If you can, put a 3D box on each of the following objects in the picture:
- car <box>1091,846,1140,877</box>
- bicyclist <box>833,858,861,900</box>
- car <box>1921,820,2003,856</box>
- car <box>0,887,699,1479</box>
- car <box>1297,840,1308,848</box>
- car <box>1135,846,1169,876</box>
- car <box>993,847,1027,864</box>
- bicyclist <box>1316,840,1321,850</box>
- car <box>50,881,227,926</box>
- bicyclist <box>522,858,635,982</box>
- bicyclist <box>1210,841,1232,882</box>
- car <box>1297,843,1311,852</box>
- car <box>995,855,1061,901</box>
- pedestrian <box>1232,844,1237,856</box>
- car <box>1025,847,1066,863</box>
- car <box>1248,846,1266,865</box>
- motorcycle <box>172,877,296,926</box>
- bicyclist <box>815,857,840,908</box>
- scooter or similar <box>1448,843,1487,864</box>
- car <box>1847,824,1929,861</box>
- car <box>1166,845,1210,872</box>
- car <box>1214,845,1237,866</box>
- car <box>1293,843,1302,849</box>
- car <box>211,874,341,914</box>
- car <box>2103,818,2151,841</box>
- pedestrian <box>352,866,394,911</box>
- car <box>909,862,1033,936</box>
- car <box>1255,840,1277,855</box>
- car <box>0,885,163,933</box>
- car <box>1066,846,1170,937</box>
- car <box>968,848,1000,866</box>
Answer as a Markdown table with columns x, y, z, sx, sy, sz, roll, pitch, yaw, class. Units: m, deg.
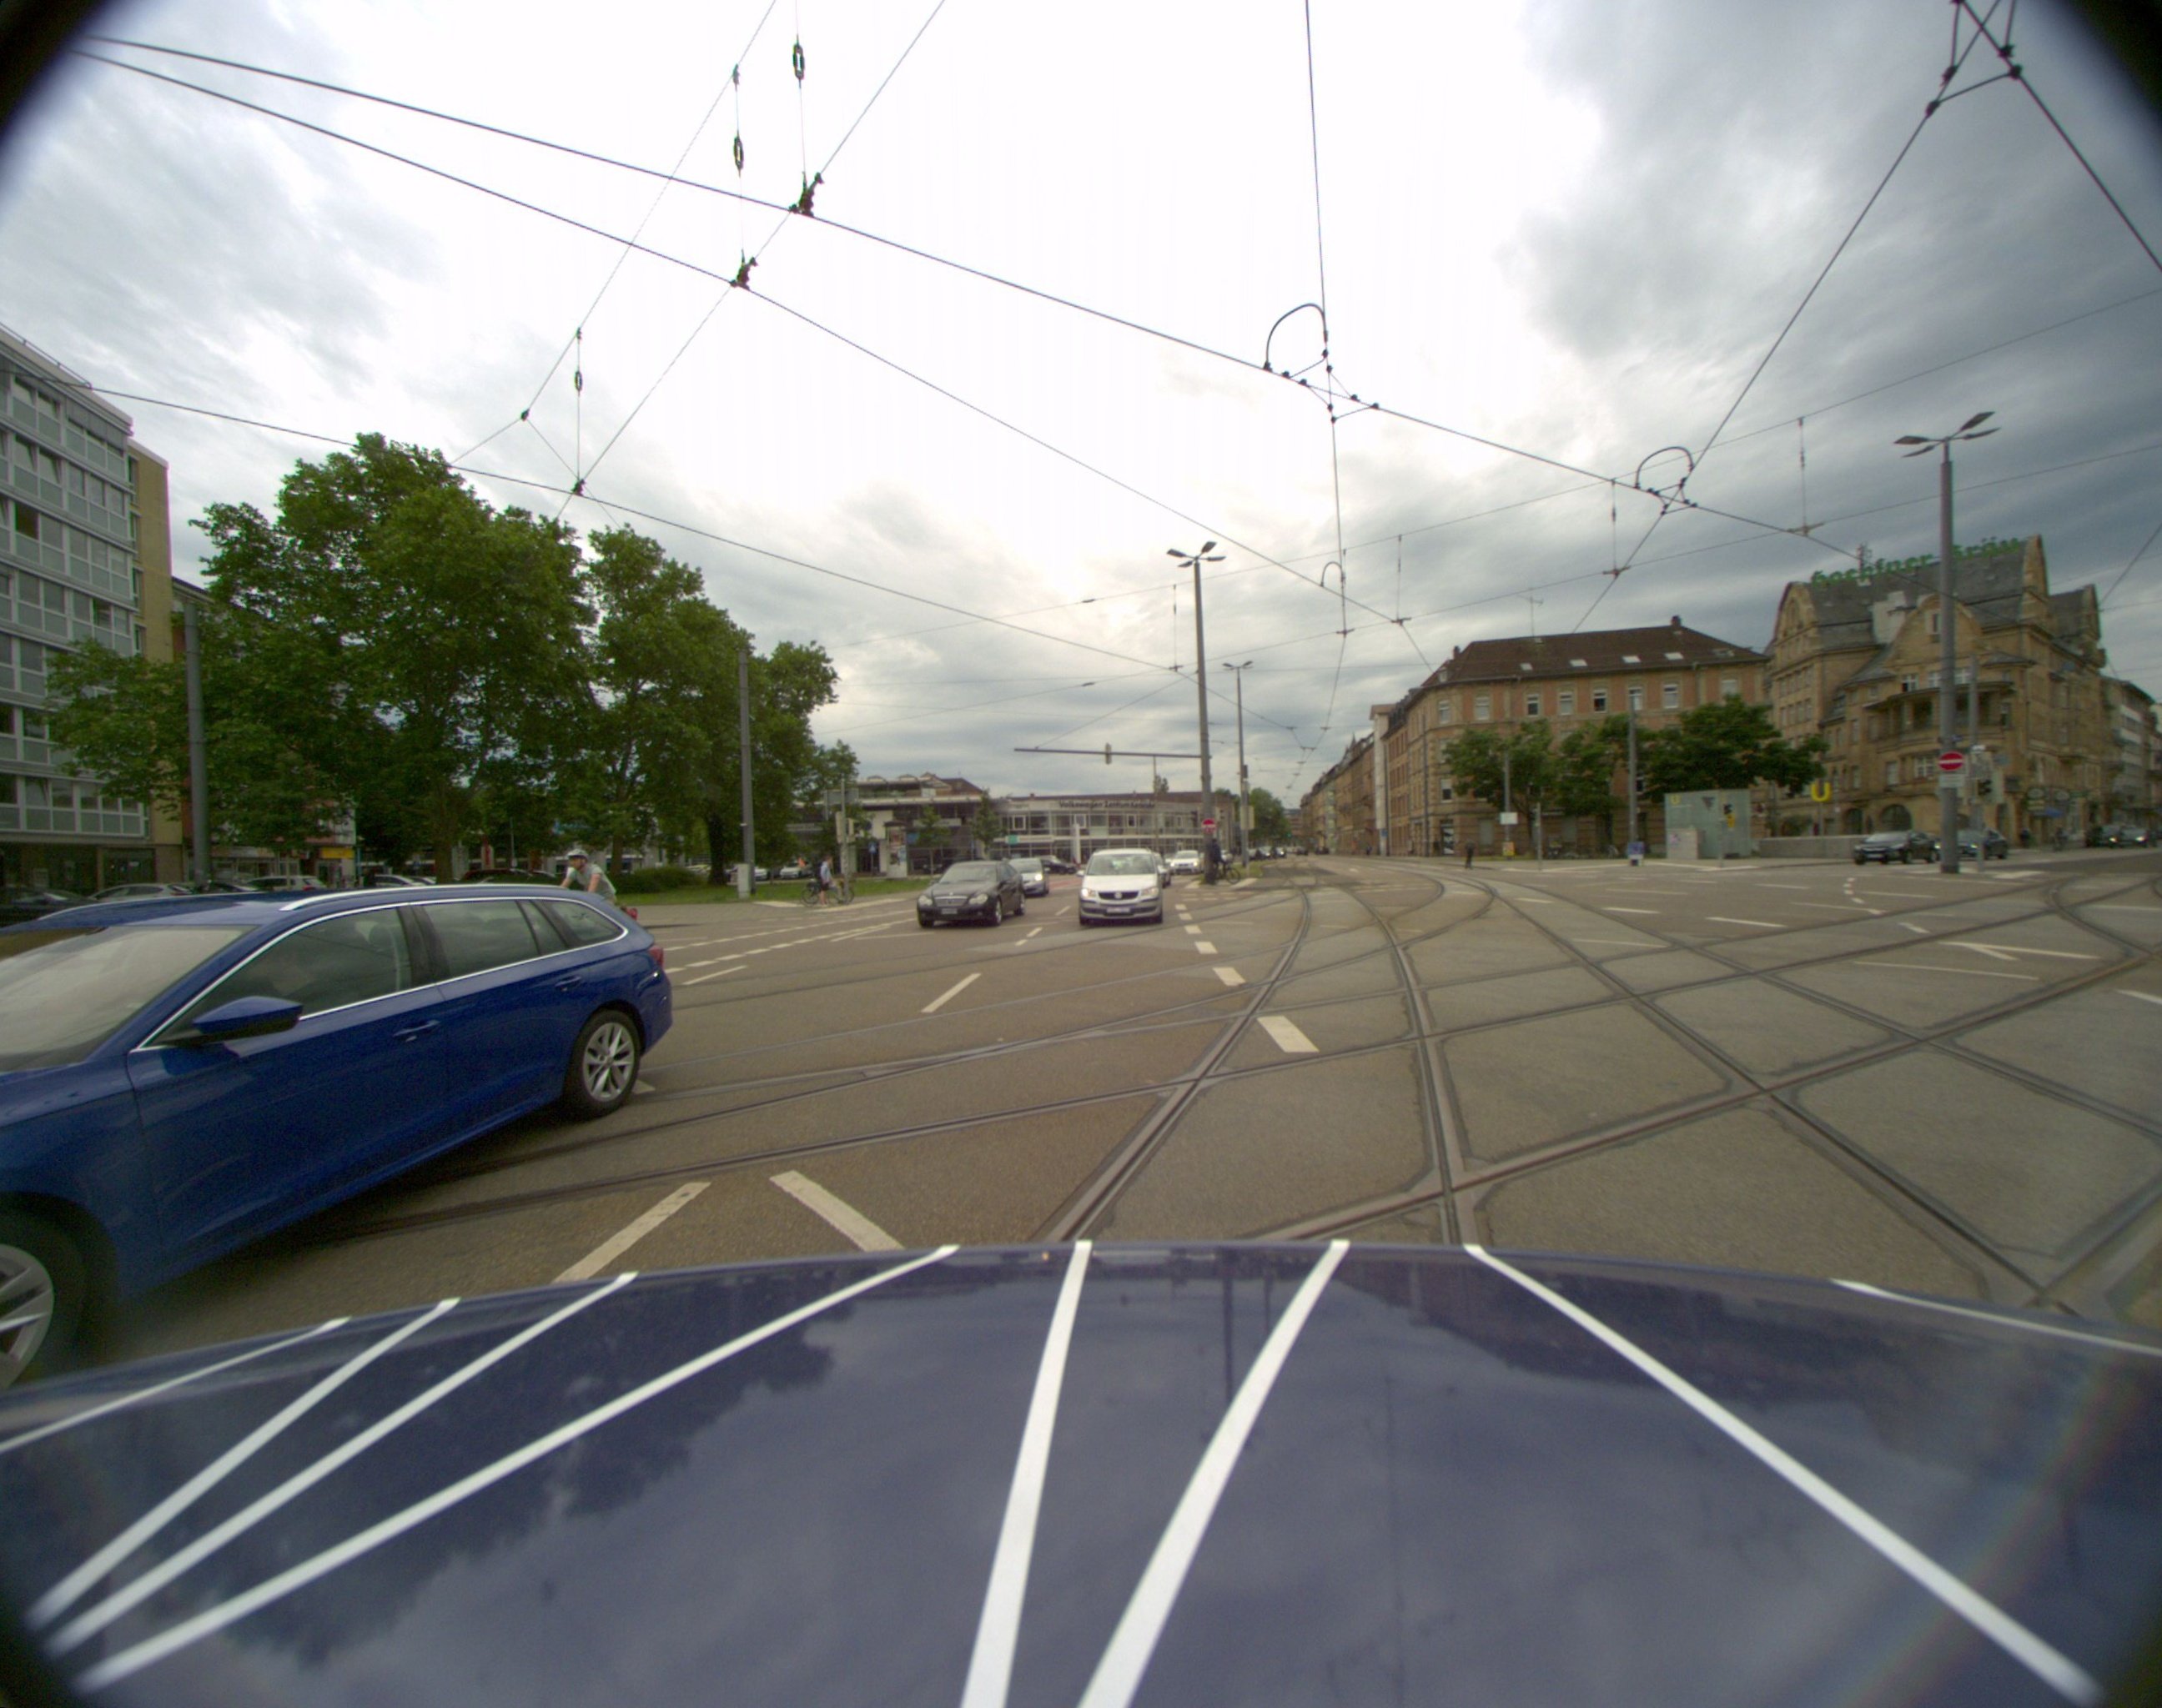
| x | y | z | sx | sy | sz | roll | pitch | yaw | class |
| --- | --- | --- | --- | --- | --- | --- | --- | --- | --- |
| 1.982 | 0.382 | 42.665 | 1.980 | 1.550 | 4.149 | -2 | 1 | 13 | car |
| -8.751 | 0.928 | 28.472 | 0.886 | 1.513 | 0.671 | 0 | 1 | -6 | bicyclist |
| 46.137 | -0.834 | 39.764 | 4.932 | 1.704 | 2.157 | -2 | 1 | -33 | car |
| -3.845 | 1.025 | 3.293 | 1.769 | 1.428 | 4.757 | -2 | 1 | 2 | car |
| 47.284 | -2.176 | 162.276 | 1.833 | 1.636 | 4.234 | -2 | 1 | 12 | car |
| 5.180 | 0.481 | 54.786 | 1.997 | 2.002 | 4.003 | -2 | 1 | 11 | car |
| -7.178 | 0.169 | 76.196 | 1.794 | 1.552 | 4.025 | -3 | 1 | -30 | car |
| 42.892 | -1.616 | 137.103 | 0.823 | 1.856 | 0.924 | -2 | 1 | 13 | bicyclist |
| -38.414 | 1.976 | 31.122 | 4.005 | 1.456 | 1.996 | -3 | 1 | -26 | car |
| -7.065 | 0.902 | 10.729 | 0.790 | 1.609 | 0.934 | -4 | 1 | 9 | bicyclist |
| 5.713 | 0.285 | 30.968 | 0.656 | 1.630 | 0.517 | -3 | 2 | -25 | bicyclist |
| 37.480 | -1.077 | 127.958 | 1.886 | 1.461 | 4.467 | -2 | 1 | 12 | car |
| -1.955 | 0.867 | 29.309 | 1.708 | 1.475 | 3.935 | -4 | 1 | 7 | car |
| 20.961 | -0.526 | 103.823 | 0.662 | 1.671 | 0.651 | -2 | 1 | 12 | pedestrian |
| -3.591 | 0.075 | 77.778 | 3.903 | 1.433 | 1.733 | -2 | 1 | 4 | car |
| 20.707 | 0.134 | 89.254 | 1.996 | 2.002 | 4.003 | -2 | 1 | 14 | car |
| -26.336 | 1.454 | 23.693 | 2.296 | 1.358 | 1.044 | -2 | 1 | -27 | motorcycle |
| -9.006 | 1.006 | 27.017 | 0.735 | 1.742 | 0.585 | -2 | 2 | -14 | bicyclist |
| 22.367 | -0.046 | 44.016 | 0.575 | 1.158 | 1.902 | -3 | 1 | -38 | scooter or similar |
| 39.338 | -0.560 | 37.026 | 4.251 | 1.602 | 1.995 | -3 | 1 | -33 | car |
| 6.484 | 0.236 | 45.649 | 1.970 | 1.447 | 4.197 | -2 | 1 | 16 | car |
| 15.184 | 0.116 | 79.708 | 1.996 | 2.002 | 4.003 | -2 | 1 | 14 | car |
| 50.618 | -1.853 | 177.665 | 1.813 | 1.423 | 4.020 | -2 | 1 | 12 | car |
| -40.551 | 1.962 | 38.421 | 4.005 | 1.713 | 1.996 | -2 | 1 | -26 | car |
| 75.788 | -1.782 | 55.059 | 4.008 | 1.457 | 1.828 | -3 | 1 | -33 | car |
| -29.561 | 1.419 | 31.741 | 0.866 | 1.808 | 0.897 | -2 | 1 | -10 | pedestrian |
| -2.373 | 0.946 | 17.608 | 1.769 | 1.362 | 4.423 | -1 | 1 | 6 | car |
| 23.257 | -0.889 | 95.595 | 2.370 | 1.745 | 5.135 | -2 | 1 | 17 | car |
| -36.152 | 1.937 | 26.941 | 4.170 | 1.434 | 1.838 | -2 | 1 | -19 | car |
| 0.986 | 0.695 | 16.885 | 1.862 | 1.609 | 5.064 | -3 | 1 | 7 | car |
| -9.639 | 0.278 | 75.092 | 1.959 | 1.517 | 4.220 | -3 | 2 | -23 | car |
